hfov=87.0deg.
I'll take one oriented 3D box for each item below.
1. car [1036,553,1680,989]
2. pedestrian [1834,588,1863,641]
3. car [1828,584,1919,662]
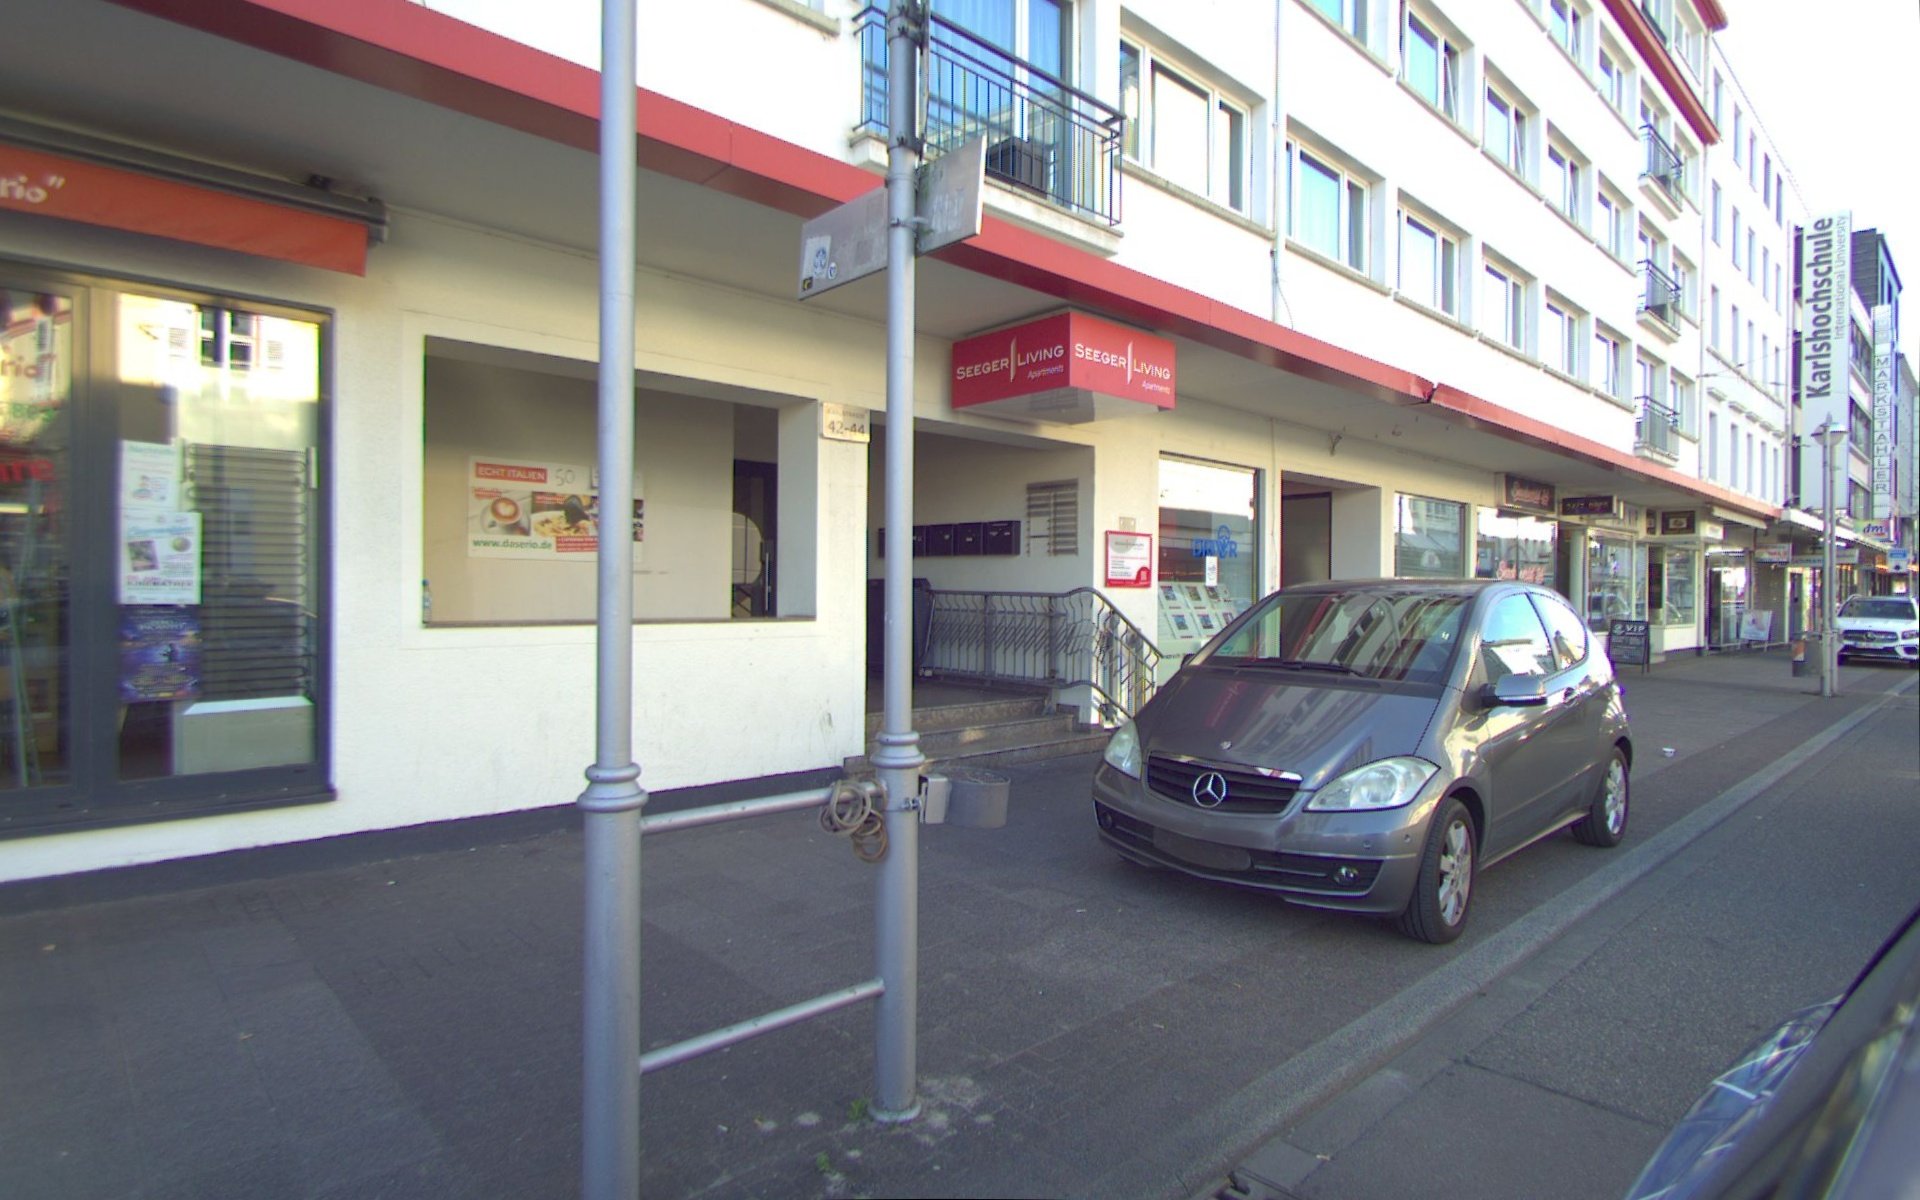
[{"bbox_3d":[2.419,0.573,5.647,3.893,1.588,1.780,-1,2,-42],"label":"car"},{"bbox_3d":[31.735,0.510,36.146,0.794,1.840,0.704,0,0,-44],"label":"pedestrian"},{"bbox_3d":[22.256,0.473,24.168,4.092,1.684,1.781,-1,2,-42],"label":"car"}]
